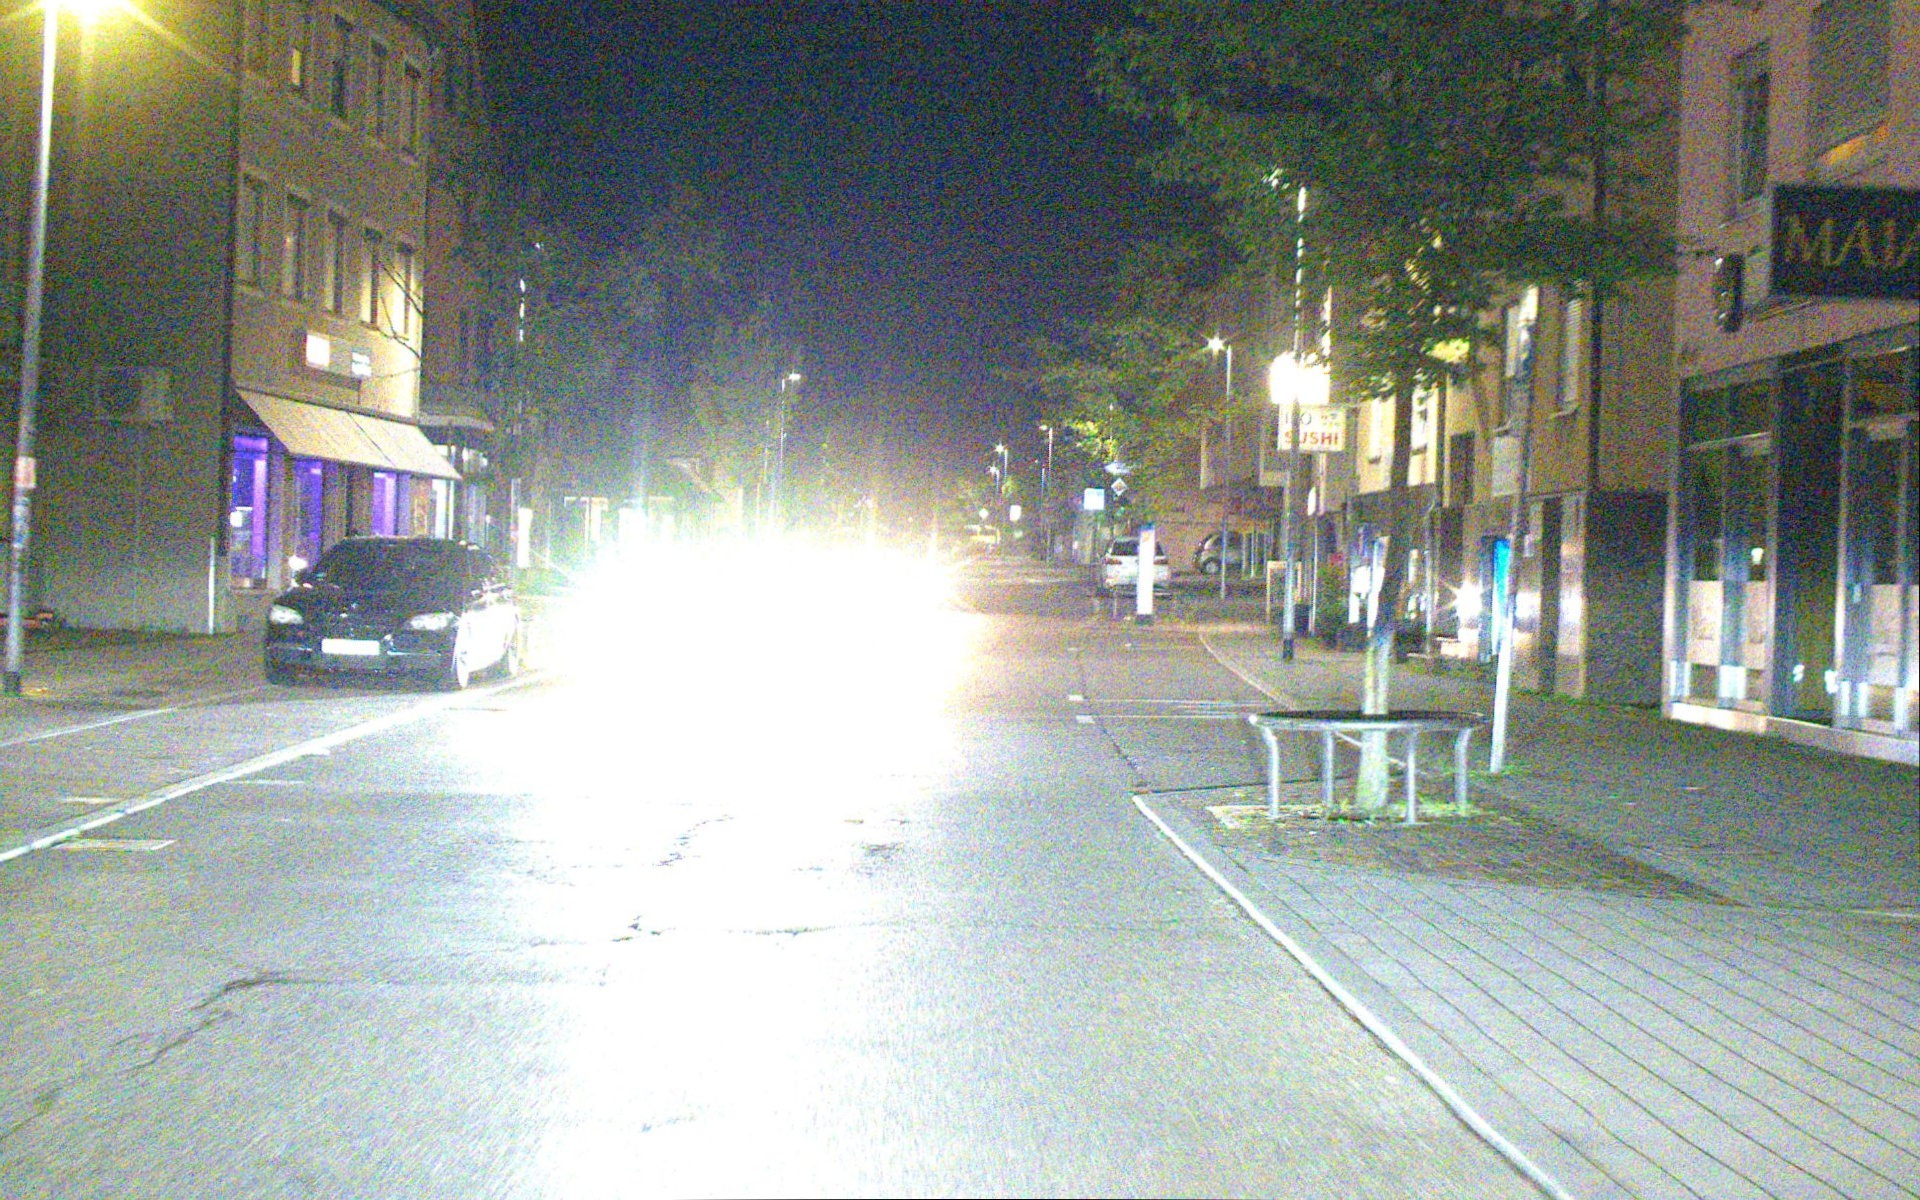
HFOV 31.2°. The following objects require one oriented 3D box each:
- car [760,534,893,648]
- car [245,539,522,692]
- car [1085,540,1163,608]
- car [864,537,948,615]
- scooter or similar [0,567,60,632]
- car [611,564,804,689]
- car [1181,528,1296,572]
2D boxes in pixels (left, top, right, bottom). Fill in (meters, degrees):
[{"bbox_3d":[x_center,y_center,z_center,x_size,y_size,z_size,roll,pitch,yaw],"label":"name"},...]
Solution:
[{"bbox_3d":[-2.000,-0.174,52.640,1.775,1.647,4.364,1,1,1],"label":"car"},{"bbox_3d":[-5.630,0.103,34.089,1.914,1.366,4.457,1,1,1],"label":"car"},{"bbox_3d":[4.163,-0.686,87.748,1.775,1.647,4.364,1,1,1],"label":"car"},{"bbox_3d":[-1.165,-0.564,76.042,1.775,1.647,4.364,1,1,0],"label":"car"},{"bbox_3d":[-11.604,-0.011,41.957,1.095,0.778,0.525,1,1,-3],"label":"scooter or similar"},{"bbox_3d":[-2.674,0.249,37.202,1.723,1.242,4.237,1,1,0],"label":"car"},{"bbox_3d":[9.798,-1.760,120.990,3.988,1.412,1.999,1,-1,5],"label":"car"}]
